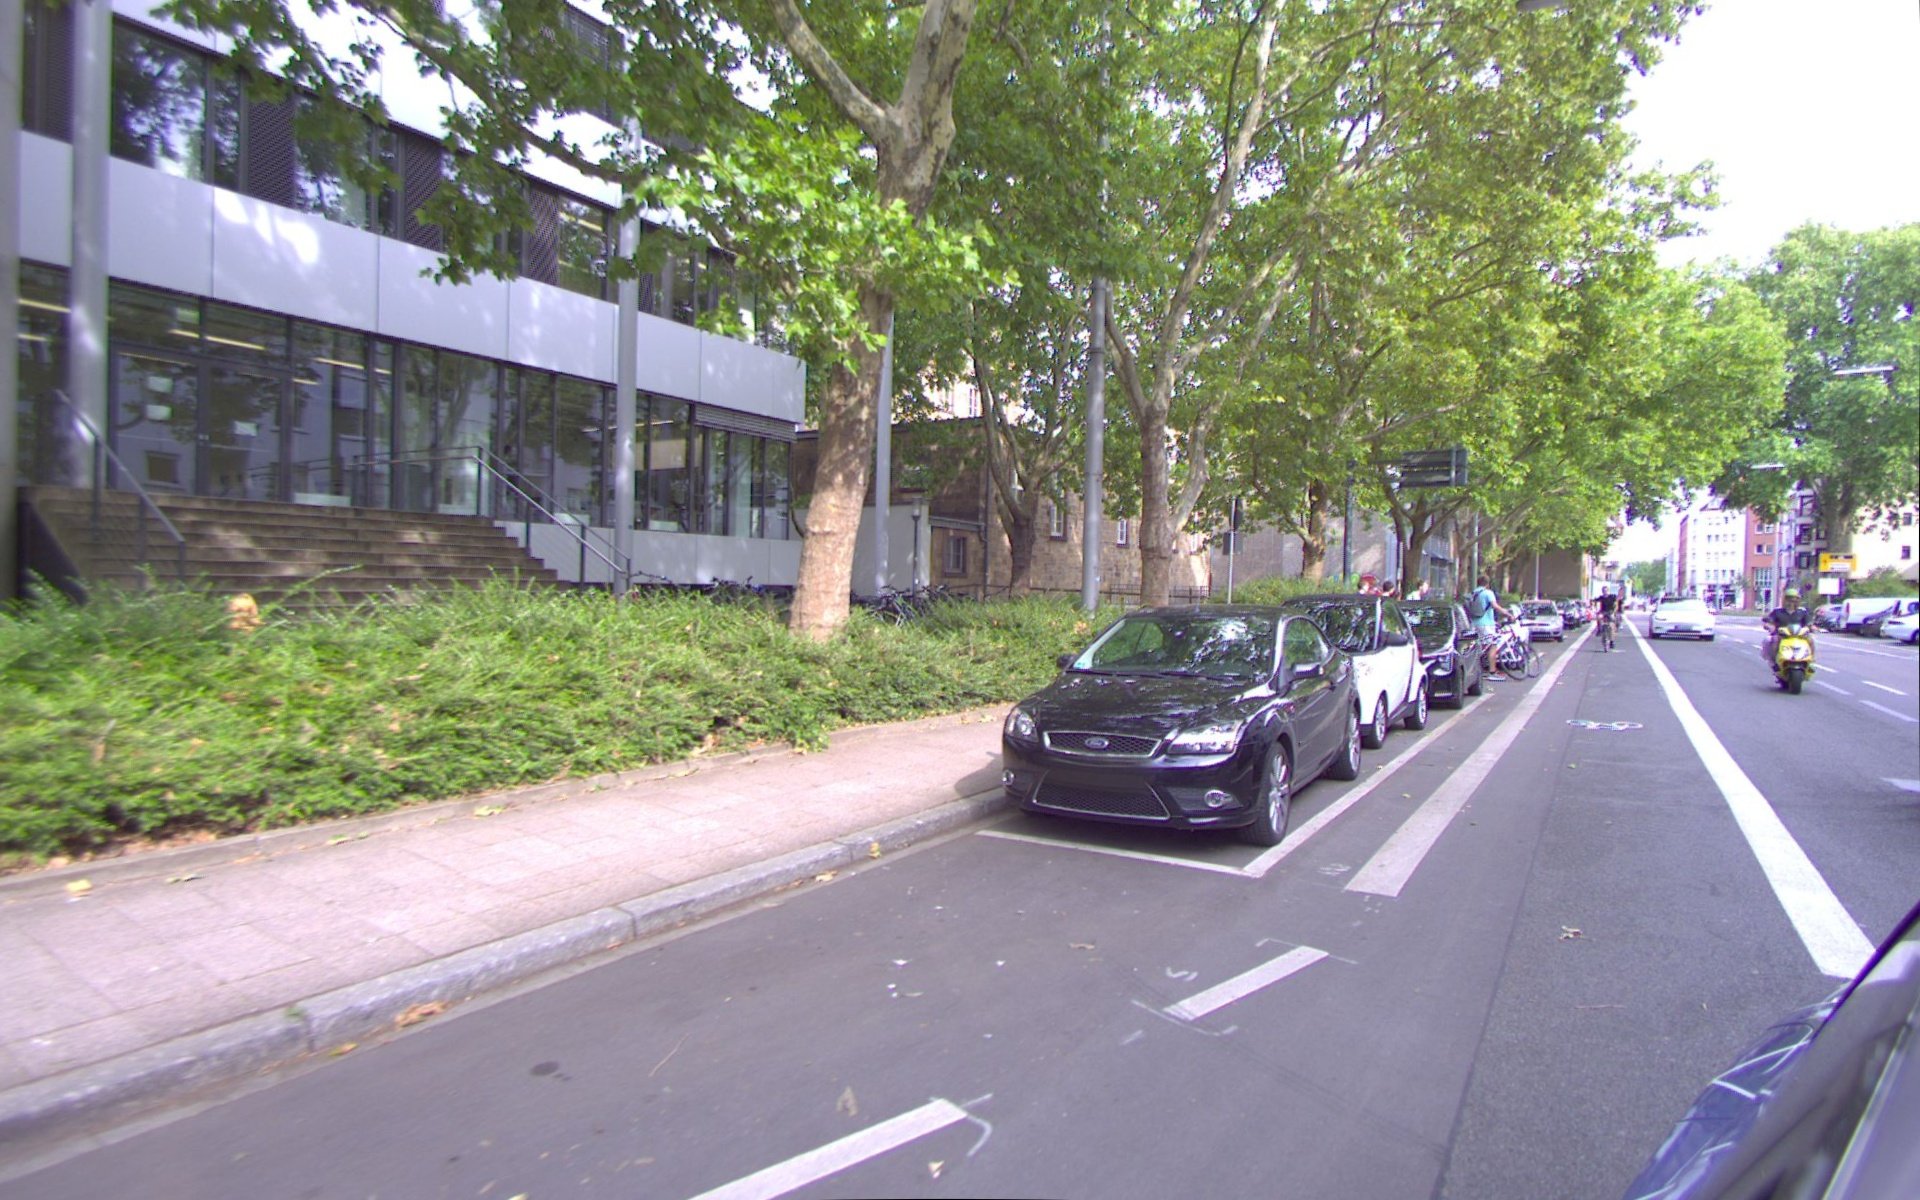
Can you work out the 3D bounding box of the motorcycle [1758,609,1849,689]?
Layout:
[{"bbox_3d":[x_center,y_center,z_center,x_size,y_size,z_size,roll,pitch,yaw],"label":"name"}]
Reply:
[{"bbox_3d":[14.367,0.785,17.306,0.899,1.212,2.598,2,1,34],"label":"motorcycle"}]

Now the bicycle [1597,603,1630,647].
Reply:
[{"bbox_3d":[18.420,0.676,28.504,0.758,1.183,1.926,1,0,34],"label":"bicycle"}]

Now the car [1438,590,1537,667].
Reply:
[{"bbox_3d":[11.892,0.567,22.661,1.672,1.535,4.494,-1,0,31],"label":"car"}]

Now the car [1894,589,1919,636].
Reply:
[{"bbox_3d":[40.561,0.478,40.627,4.196,1.871,1.900,-1,-1,35],"label":"car"}]

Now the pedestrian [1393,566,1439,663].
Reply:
[{"bbox_3d":[9.766,0.304,21.656,0.790,2.022,0.741,0,0,34],"label":"pedestrian"}]

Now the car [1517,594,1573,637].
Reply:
[{"bbox_3d":[21.101,0.512,36.603,1.633,1.465,3.843,0,0,29],"label":"car"}]

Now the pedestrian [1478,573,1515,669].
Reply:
[{"bbox_3d":[10.620,0.397,20.046,0.515,1.868,0.740,0,0,19],"label":"pedestrian"}]

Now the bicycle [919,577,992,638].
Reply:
[{"bbox_3d":[-0.099,0.129,20.128,1.369,1.131,0.464,3,1,27],"label":"bicycle"}]

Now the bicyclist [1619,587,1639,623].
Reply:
[{"bbox_3d":[30.711,0.234,46.445,0.744,1.619,0.809,0,0,34],"label":"bicyclist"}]

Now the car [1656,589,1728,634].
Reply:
[{"bbox_3d":[27.952,0.404,38.746,1.988,1.585,4.497,1,1,33],"label":"car"}]

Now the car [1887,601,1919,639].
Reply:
[{"bbox_3d":[38.560,0.757,38.734,4.256,1.469,1.851,-1,-1,35],"label":"car"}]

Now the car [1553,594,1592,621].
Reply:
[{"bbox_3d":[34.002,0.410,56.124,1.633,1.450,4.518,0,0,34],"label":"car"}]

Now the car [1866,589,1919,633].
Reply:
[{"bbox_3d":[44.554,0.486,45.996,4.751,1.959,1.968,-1,-1,36],"label":"car"}]

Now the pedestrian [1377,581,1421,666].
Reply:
[{"bbox_3d":[8.869,0.466,20.450,0.718,1.679,0.647,0,0,34],"label":"pedestrian"}]

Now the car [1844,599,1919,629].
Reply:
[{"bbox_3d":[47.055,0.691,50.155,4.690,1.488,1.850,-1,-1,36],"label":"car"}]

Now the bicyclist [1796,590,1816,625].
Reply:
[{"bbox_3d":[44.087,0.385,52.756,0.649,1.833,1.033,1,1,34],"label":"bicyclist"}]

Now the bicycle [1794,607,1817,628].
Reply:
[{"bbox_3d":[44.140,0.903,52.844,0.643,1.027,2.052,1,1,33],"label":"bicycle"}]

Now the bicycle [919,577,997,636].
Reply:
[{"bbox_3d":[-0.048,0.119,20.626,1.529,1.131,0.464,3,1,27],"label":"bicycle"}]

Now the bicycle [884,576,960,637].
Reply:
[{"bbox_3d":[-0.743,0.117,19.842,1.365,1.131,0.508,3,1,20],"label":"bicycle"}]

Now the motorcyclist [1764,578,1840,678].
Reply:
[{"bbox_3d":[14.380,0.460,17.304,0.899,1.637,0.683,2,1,35],"label":"motorcyclist"}]

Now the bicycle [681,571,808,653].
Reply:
[{"bbox_3d":[-3.356,0.158,15.680,2.072,1.131,0.665,3,2,34],"label":"bicycle"}]

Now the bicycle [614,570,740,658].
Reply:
[{"bbox_3d":[-4.100,0.174,14.589,1.908,1.131,0.665,3,2,34],"label":"bicycle"}]

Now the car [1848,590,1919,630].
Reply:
[{"bbox_3d":[45.566,0.457,48.259,4.601,1.883,1.925,-1,-1,36],"label":"car"}]

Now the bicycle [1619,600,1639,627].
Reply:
[{"bbox_3d":[30.695,0.601,46.444,0.758,1.183,1.926,1,0,34],"label":"bicycle"}]

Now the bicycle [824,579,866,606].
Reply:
[{"bbox_3d":[-4.091,-0.277,35.898,1.617,0.889,0.501,2,3,39],"label":"bicycle"}]

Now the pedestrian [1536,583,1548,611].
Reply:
[{"bbox_3d":[39.223,-0.213,68.205,0.588,1.806,0.471,6,3,33],"label":"pedestrian"}]

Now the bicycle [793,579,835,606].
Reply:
[{"bbox_3d":[-5.224,-0.280,36.222,0.476,0.889,1.602,2,3,39],"label":"bicycle"}]

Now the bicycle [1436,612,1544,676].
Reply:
[{"bbox_3d":[9.795,0.792,18.759,1.721,1.119,0.548,0,0,24],"label":"bicycle"}]

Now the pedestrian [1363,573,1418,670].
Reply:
[{"bbox_3d":[8.432,0.403,19.819,0.867,1.839,0.770,0,0,34],"label":"pedestrian"}]

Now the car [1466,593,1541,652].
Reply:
[{"bbox_3d":[14.671,0.555,27.235,1.579,1.468,3.763,-1,0,31],"label":"car"}]

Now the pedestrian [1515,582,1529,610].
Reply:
[{"bbox_3d":[38.443,-0.269,69.181,0.640,1.855,0.638,6,3,33],"label":"pedestrian"}]

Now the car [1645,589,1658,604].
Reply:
[{"bbox_3d":[125.675,-0.591,183.972,1.986,2.593,4.740,1,1,34],"label":"car"}]

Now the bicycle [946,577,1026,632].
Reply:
[{"bbox_3d":[0.582,0.084,22.719,1.664,1.131,0.598,3,1,28],"label":"bicycle"}]

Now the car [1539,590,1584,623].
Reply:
[{"bbox_3d":[30.874,0.312,51.910,1.912,1.642,4.430,0,0,32],"label":"car"}]

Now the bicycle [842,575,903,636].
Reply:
[{"bbox_3d":[-1.709,0.096,19.959,0.488,1.131,1.423,3,2,28],"label":"bicycle"}]

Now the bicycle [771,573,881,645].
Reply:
[{"bbox_3d":[-2.329,0.131,17.450,1.908,1.131,0.665,3,2,34],"label":"bicycle"}]

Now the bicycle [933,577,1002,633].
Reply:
[{"bbox_3d":[0.157,0.097,21.785,1.439,1.131,0.463,3,1,32],"label":"bicycle"}]

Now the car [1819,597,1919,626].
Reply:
[{"bbox_3d":[51.918,0.671,57.523,4.504,1.626,1.731,-1,-1,36],"label":"car"}]

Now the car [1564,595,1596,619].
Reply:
[{"bbox_3d":[39.745,0.435,64.856,1.592,1.524,4.386,0,0,34],"label":"car"}]

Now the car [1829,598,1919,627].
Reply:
[{"bbox_3d":[50.729,0.695,55.565,4.348,1.569,1.710,-1,-1,36],"label":"car"}]

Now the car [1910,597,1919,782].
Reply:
[{"bbox_3d":[7.227,0.728,5.867,1.705,1.438,4.204,1,1,32],"label":"car"}]

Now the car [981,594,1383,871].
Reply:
[{"bbox_3d":[1.962,0.682,7.639,1.689,1.443,4.373,0,0,31],"label":"car"}]

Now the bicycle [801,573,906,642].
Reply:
[{"bbox_3d":[-1.957,0.114,18.499,1.908,1.131,0.665,3,2,34],"label":"bicycle"}]

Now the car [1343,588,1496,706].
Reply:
[{"bbox_3d":[6.926,0.597,15.079,1.522,1.521,3.616,0,0,34],"label":"car"}]

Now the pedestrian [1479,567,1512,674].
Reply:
[{"bbox_3d":[10.008,0.368,18.940,0.471,1.959,0.739,0,0,23],"label":"pedestrian"}]

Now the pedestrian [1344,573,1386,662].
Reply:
[{"bbox_3d":[8.701,0.357,21.727,0.718,1.878,0.695,0,0,34],"label":"pedestrian"}]

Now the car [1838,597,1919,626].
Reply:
[{"bbox_3d":[49.521,0.612,53.663,4.251,1.530,1.697,-1,-1,36],"label":"car"}]

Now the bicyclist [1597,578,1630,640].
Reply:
[{"bbox_3d":[18.482,0.242,28.605,0.760,1.730,0.906,0,0,34],"label":"bicyclist"}]

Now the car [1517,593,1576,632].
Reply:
[{"bbox_3d":[23.465,0.475,40.428,1.748,1.465,4.166,0,0,34],"label":"car"}]

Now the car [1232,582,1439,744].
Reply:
[{"bbox_3d":[4.225,0.593,11.229,1.531,1.563,2.565,0,0,36],"label":"car"}]

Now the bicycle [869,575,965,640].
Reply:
[{"bbox_3d":[-0.818,0.124,19.199,1.675,1.131,0.620,3,1,16],"label":"bicycle"}]

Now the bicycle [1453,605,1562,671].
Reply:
[{"bbox_3d":[10.644,0.722,19.722,1.770,1.232,0.550,0,0,17],"label":"bicycle"}]

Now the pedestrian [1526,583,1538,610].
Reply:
[{"bbox_3d":[38.908,-0.227,68.834,0.499,1.806,0.521,6,3,33],"label":"pedestrian"}]

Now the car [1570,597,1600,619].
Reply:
[{"bbox_3d":[42.330,0.508,68.510,1.592,1.465,4.055,0,0,34],"label":"car"}]

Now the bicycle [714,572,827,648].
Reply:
[{"bbox_3d":[-3.167,0.139,16.801,1.908,1.131,0.665,3,2,34],"label":"bicycle"}]
